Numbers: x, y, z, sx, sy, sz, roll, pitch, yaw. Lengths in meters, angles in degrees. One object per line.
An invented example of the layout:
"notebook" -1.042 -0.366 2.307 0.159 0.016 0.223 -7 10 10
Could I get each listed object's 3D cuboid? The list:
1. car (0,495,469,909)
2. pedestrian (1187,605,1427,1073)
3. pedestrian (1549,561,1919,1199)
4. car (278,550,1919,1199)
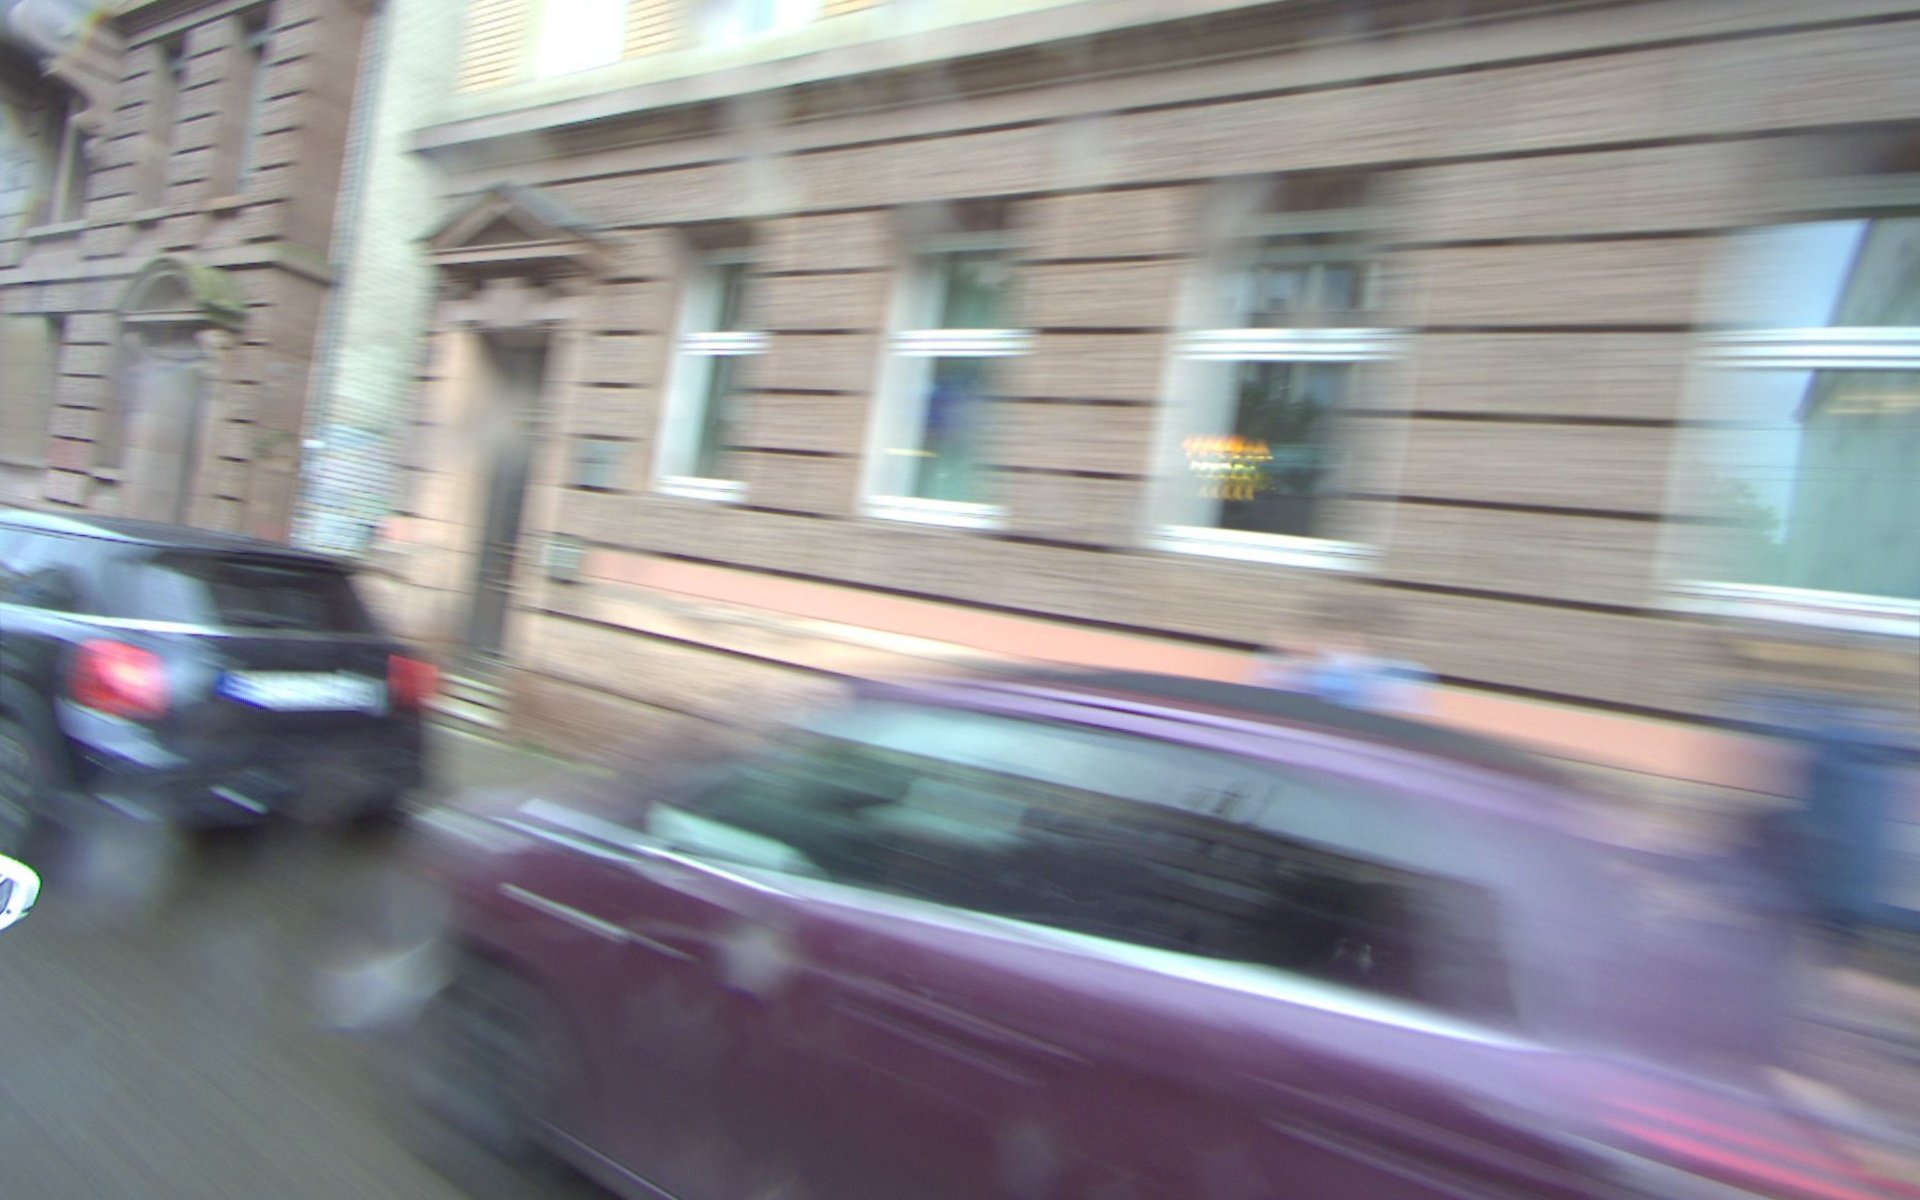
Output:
"car" -4.541 0.273 5.276 3.756 1.477 1.580 7 -1 30
"pedestrian" 1.354 0.852 3.911 0.666 1.599 0.520 5 1 31
"pedestrian" 2.260 0.892 2.697 0.945 1.843 0.704 9 2 31
"car" 0.030 0.833 2.658 3.418 1.477 1.652 6 -1 31
